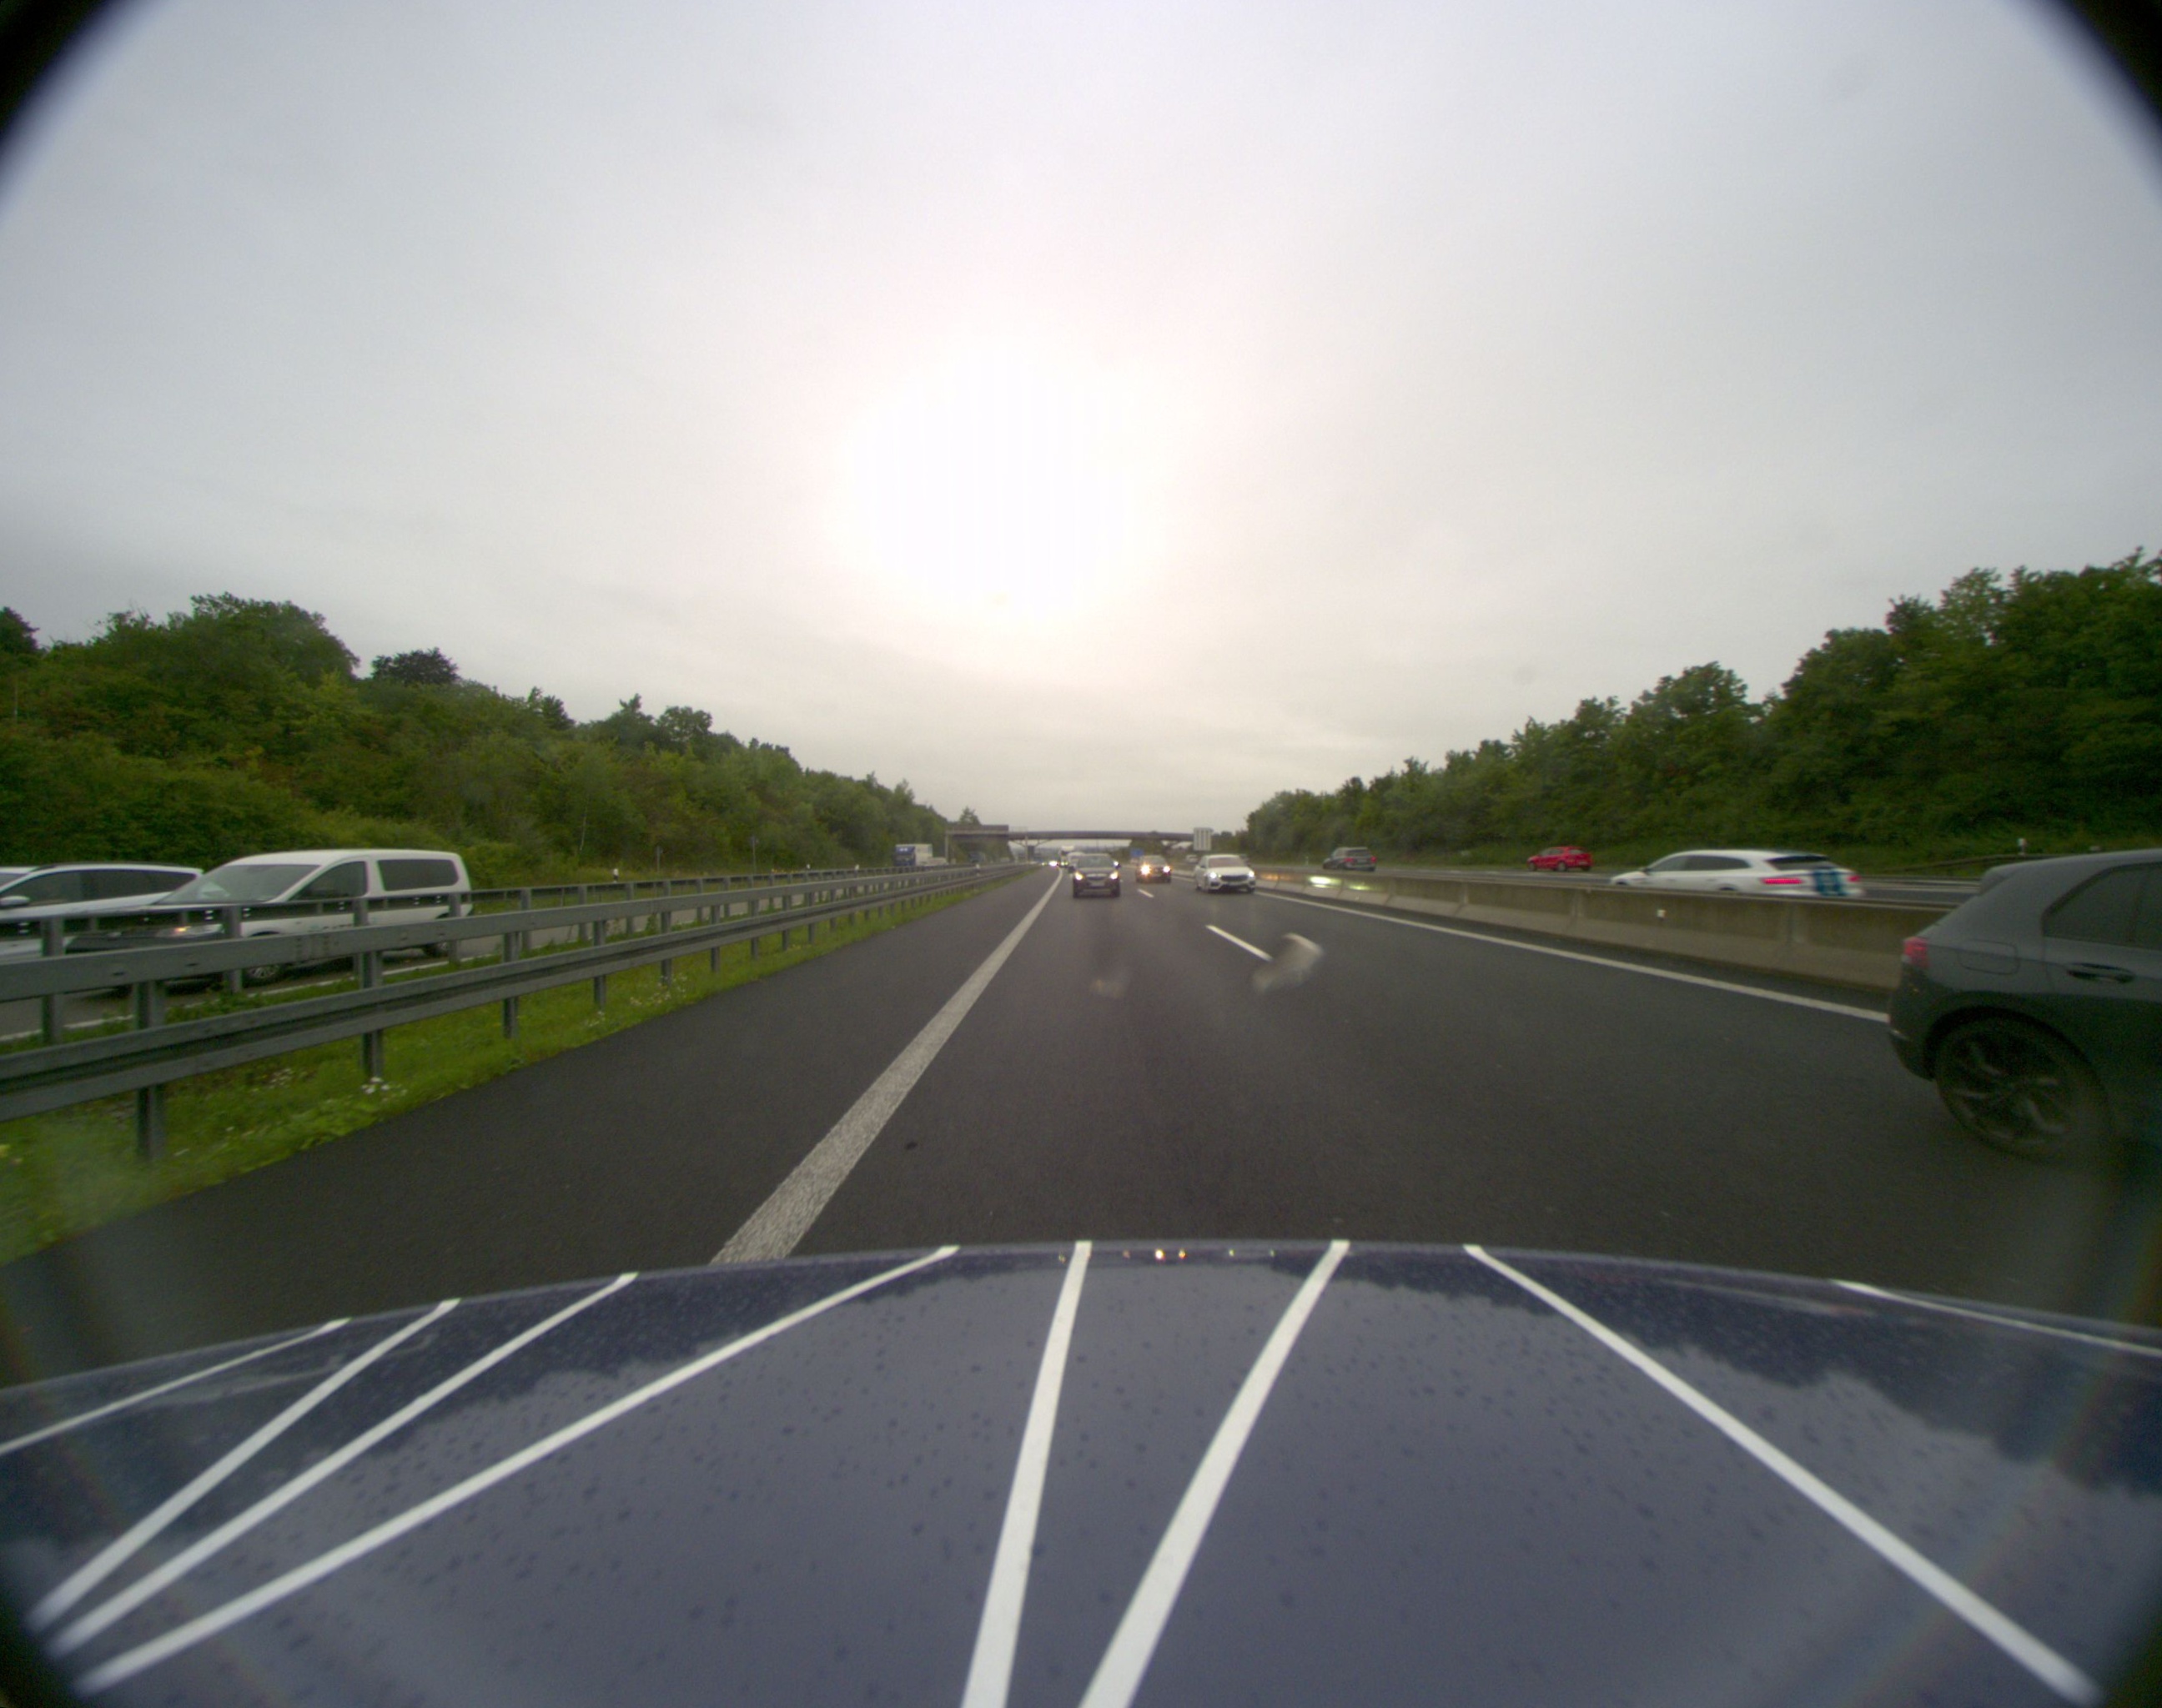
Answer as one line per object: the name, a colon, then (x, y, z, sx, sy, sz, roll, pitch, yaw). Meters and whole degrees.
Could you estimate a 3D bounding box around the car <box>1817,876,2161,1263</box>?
car: (5.062, 0.845, 2.025, 1.905, 1.397, 4.459, -1, 0, 1)

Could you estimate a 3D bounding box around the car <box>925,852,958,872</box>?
car: (-12.316, 0.691, 67.183, 2.013, 1.645, 4.472, -1, 0, 1)

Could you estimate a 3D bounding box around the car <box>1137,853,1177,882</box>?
car: (4.222, 0.708, 42.790, 1.905, 1.497, 4.114, -1, 0, 1)

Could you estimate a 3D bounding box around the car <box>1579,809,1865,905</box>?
car: (13.200, 0.053, 16.201, 2.185, 1.686, 4.865, -1, 0, 3)

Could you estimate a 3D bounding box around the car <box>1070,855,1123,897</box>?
car: (0.609, 0.797, 29.712, 1.905, 1.497, 4.114, -1, 0, 1)

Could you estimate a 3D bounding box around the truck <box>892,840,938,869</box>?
truck: (-20.588, 0.037, 95.092, 2.907, 3.397, 9.285, -1, 0, 5)

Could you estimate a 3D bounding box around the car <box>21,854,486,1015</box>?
car: (-11.301, 0.936, 10.982, 2.013, 1.804, 4.275, -1, 0, -1)

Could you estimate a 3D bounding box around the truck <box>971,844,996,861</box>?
truck: (-20.935, -0.362, 163.938, 2.908, 3.397, 13.355, -1, 0, 3)

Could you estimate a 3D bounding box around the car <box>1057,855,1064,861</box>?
car: (-6.033, 1.091, 226.167, 1.917, 1.671, 4.000, -1, 0, 1)

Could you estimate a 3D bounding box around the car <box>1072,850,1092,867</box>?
car: (0.127, 0.429, 78.833, 1.825, 1.669, 4.000, -2, 0, 2)

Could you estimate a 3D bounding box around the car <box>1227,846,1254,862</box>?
car: (17.303, -0.012, 82.628, 2.185, 1.686, 5.251, -1, 0, 3)

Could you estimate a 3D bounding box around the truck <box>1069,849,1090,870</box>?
truck: (-0.079, 0.558, 85.723, 2.175, 2.214, 5.642, -1, 0, 1)

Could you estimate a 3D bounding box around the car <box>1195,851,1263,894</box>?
car: (5.685, 0.665, 29.655, 1.905, 1.497, 4.114, -1, 0, 1)

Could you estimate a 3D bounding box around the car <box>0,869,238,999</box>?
car: (-14.901, 1.085, 10.499, 1.901, 1.603, 4.145, -1, 0, -2)

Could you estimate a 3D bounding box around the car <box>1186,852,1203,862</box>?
car: (18.857, 0.452, 126.238, 2.185, 1.625, 4.537, -1, 0, 1)

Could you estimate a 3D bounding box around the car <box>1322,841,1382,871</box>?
car: (16.532, 0.099, 46.562, 2.185, 1.686, 4.733, -1, 0, 3)

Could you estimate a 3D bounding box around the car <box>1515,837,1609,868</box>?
car: (28.656, -0.085, 45.478, 2.187, 1.686, 4.624, -1, 0, -9)

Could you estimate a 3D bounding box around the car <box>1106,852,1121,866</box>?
car: (4.256, 0.607, 98.675, 1.716, 1.724, 3.999, -1, 0, -1)

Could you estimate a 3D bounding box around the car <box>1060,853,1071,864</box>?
car: (-2.463, 0.729, 123.107, 1.716, 1.724, 3.999, -1, 0, -1)

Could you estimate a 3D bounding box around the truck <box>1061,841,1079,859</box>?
truck: (-2.041, -0.751, 143.919, 3.154, 3.332, 13.099, -2, 0, 0)
